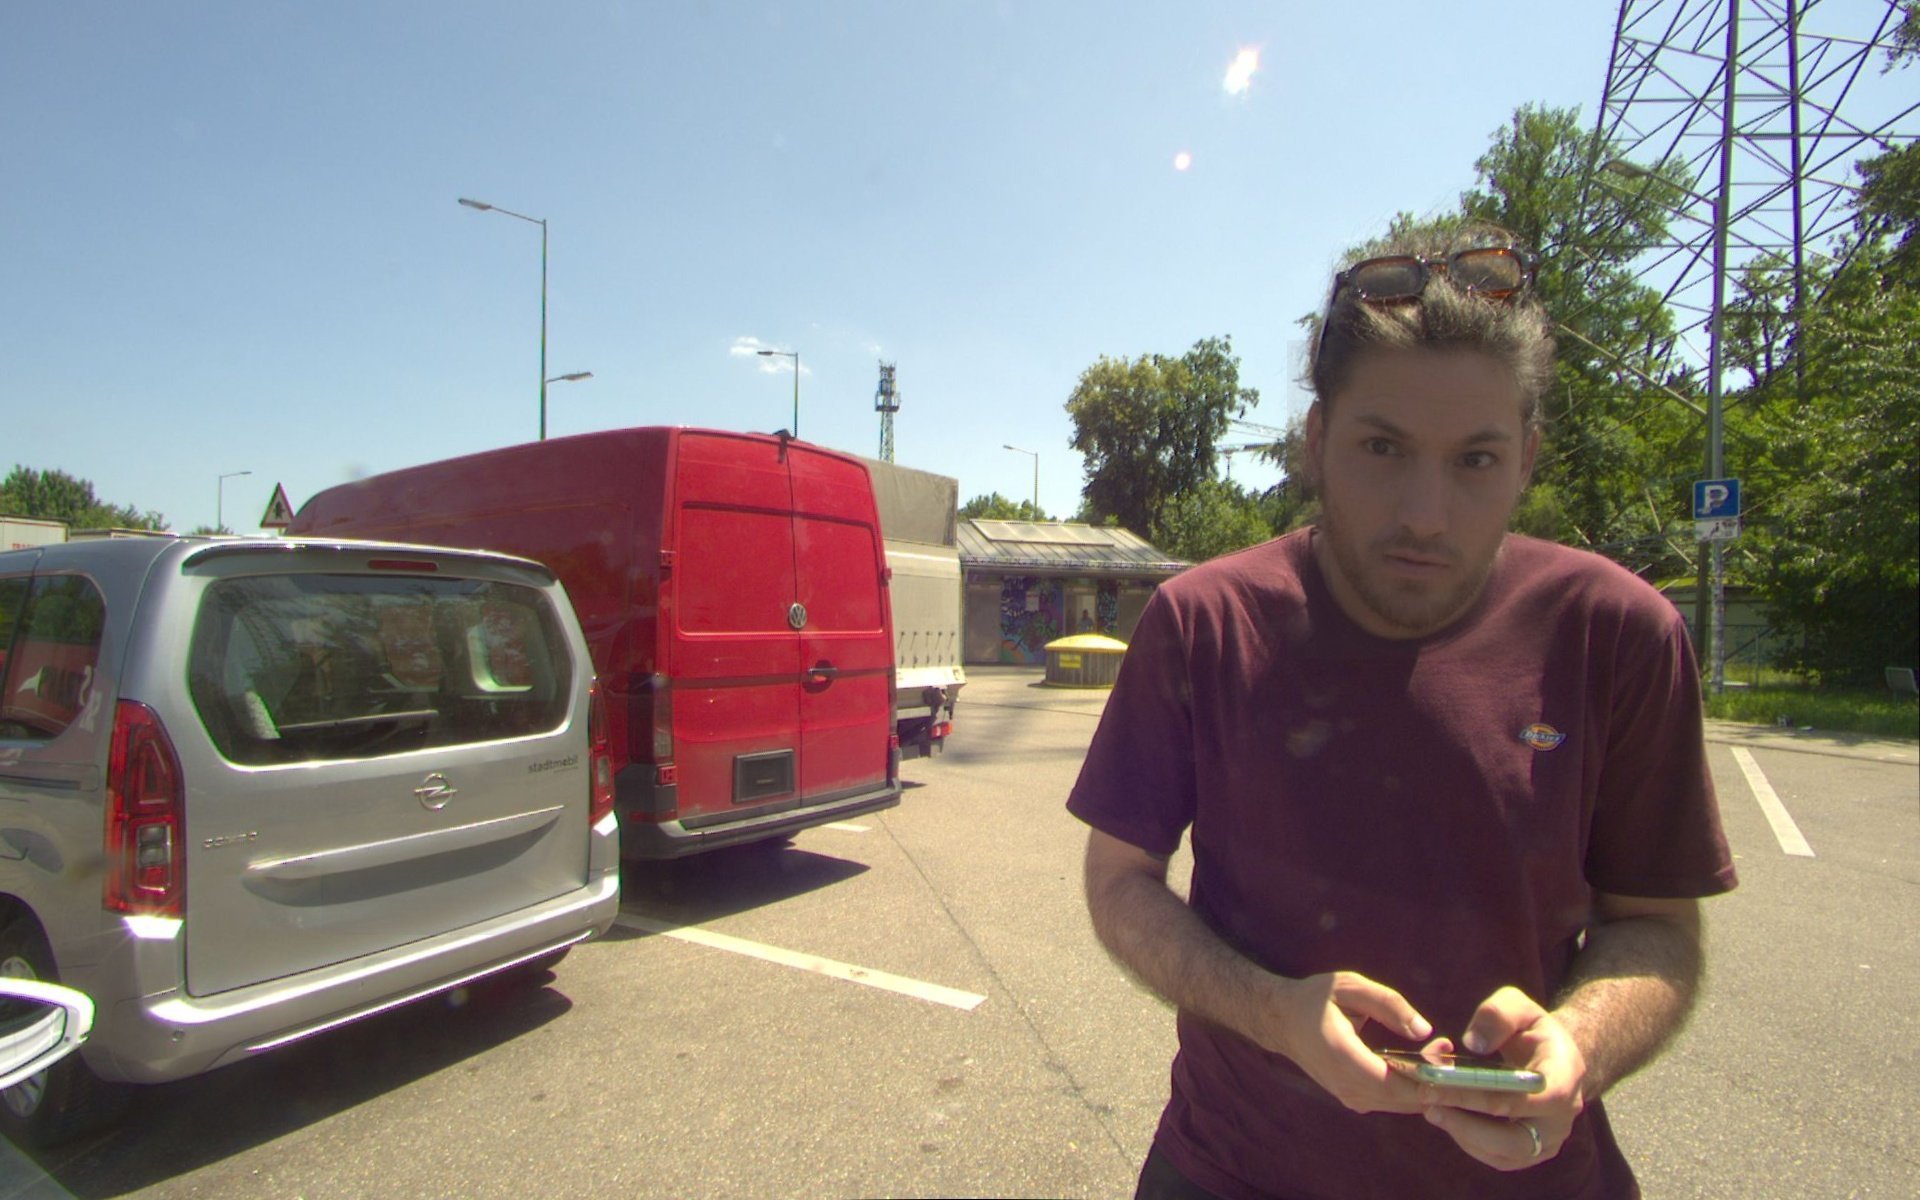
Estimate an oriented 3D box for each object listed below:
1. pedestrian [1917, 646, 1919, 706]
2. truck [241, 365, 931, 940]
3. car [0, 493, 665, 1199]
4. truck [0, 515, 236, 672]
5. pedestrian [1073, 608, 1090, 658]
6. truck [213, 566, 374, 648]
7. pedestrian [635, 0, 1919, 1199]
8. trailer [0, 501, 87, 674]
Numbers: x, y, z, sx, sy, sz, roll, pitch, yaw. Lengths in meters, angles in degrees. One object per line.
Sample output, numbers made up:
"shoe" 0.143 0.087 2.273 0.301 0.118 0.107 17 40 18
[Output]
"pedestrian" 17.288 1.350 17.392 0.797 1.062 0.712 0 -1 30
"truck" -2.875 0.267 7.001 5.233 2.658 1.987 0 -1 37
"car" -3.361 0.641 4.216 3.938 1.776 1.824 0 -1 29
"truck" -28.006 -0.125 31.785 14.316 4.175 2.901 0 -3 33
"pedestrian" 3.736 1.006 30.744 0.453 1.535 0.375 1 0 -2
"truck" -30.726 0.328 46.072 8.407 3.482 3.019 0 -1 33
"pedestrian" 0.364 0.505 0.866 0.926 1.798 0.827 1 0 28
"trailer" -28.811 -0.322 28.031 13.374 4.178 2.871 0 -1 33
